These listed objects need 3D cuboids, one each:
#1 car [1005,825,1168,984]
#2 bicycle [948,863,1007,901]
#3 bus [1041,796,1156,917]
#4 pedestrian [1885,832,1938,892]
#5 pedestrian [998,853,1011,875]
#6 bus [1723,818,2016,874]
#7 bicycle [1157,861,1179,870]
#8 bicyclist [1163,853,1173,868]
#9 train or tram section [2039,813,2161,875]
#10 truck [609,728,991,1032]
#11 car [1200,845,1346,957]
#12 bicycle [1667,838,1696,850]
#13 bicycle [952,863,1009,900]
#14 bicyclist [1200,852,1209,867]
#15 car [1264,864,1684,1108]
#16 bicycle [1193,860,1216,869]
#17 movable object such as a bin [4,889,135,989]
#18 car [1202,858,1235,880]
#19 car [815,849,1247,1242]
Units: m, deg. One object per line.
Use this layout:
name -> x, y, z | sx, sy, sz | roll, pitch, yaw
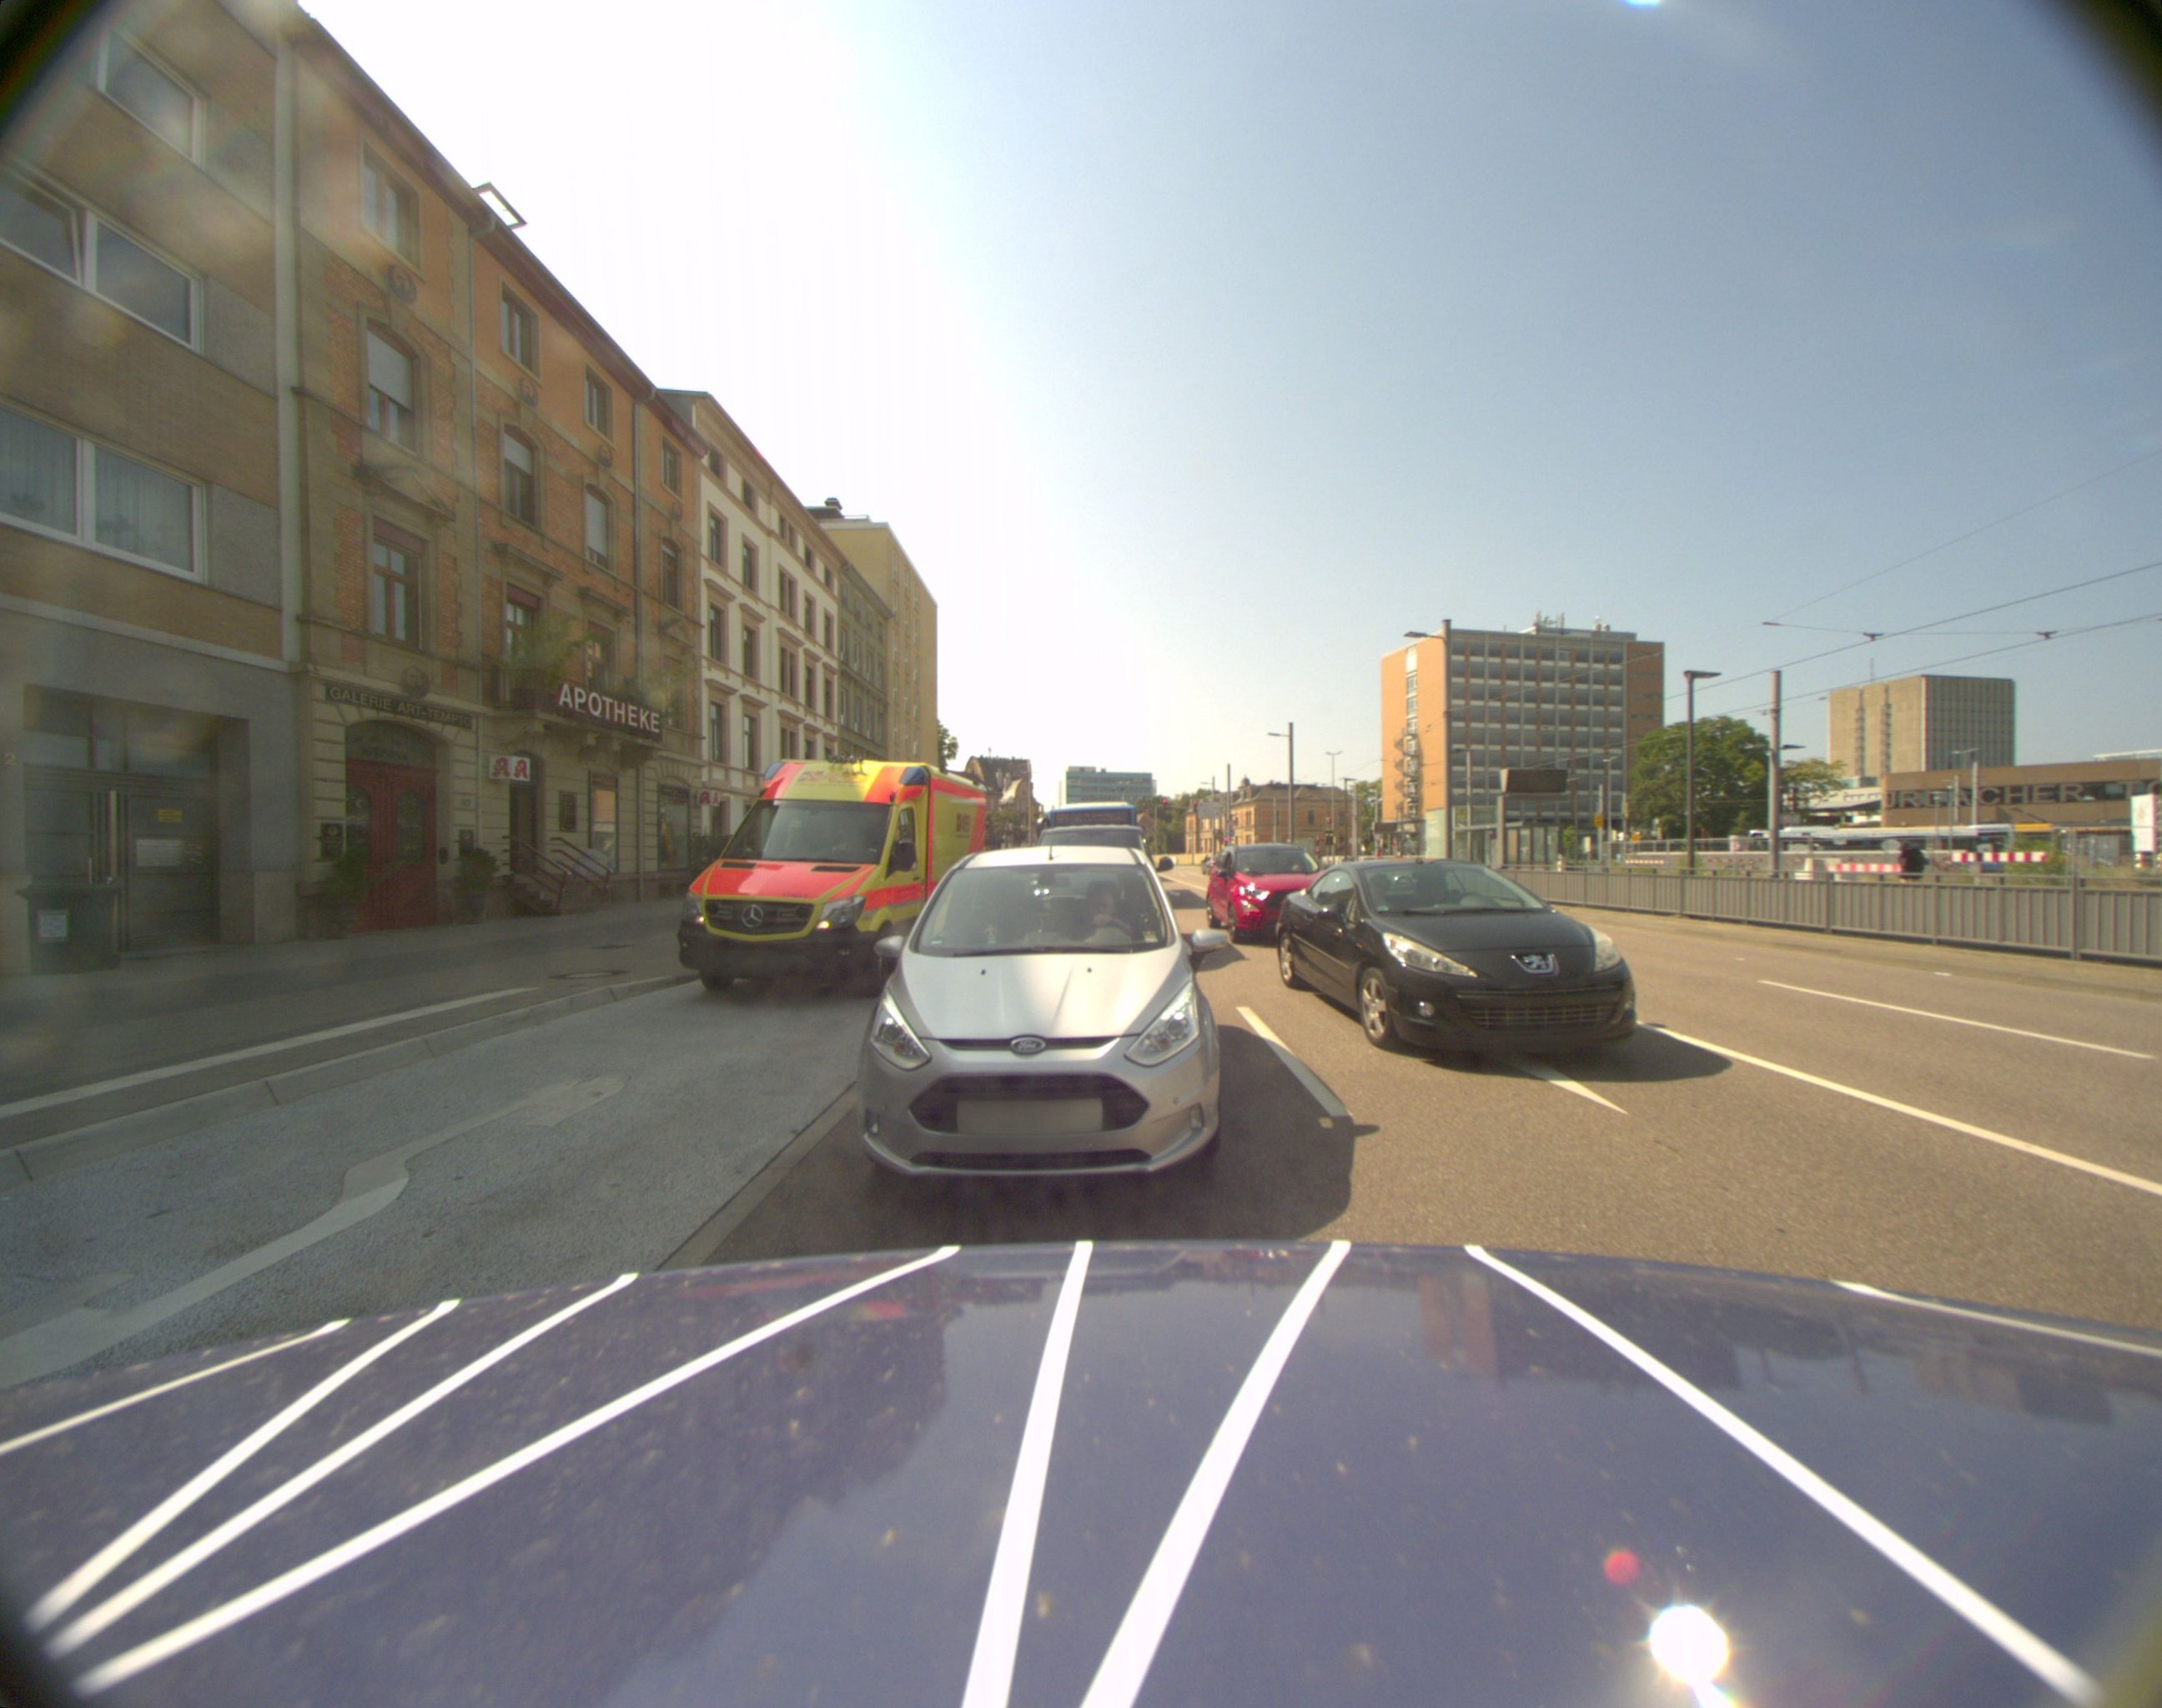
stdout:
car -> 0.120, 0.627, 11.996 | 1.998, 1.953, 4.816 | -1, 0, 1
bicycle -> -3.439, 0.939, 25.330 | 1.841, 1.196, 0.434 | -2, 1, 1
bus -> 0.706, 0.050, 26.325 | 2.919, 3.119, 12.345 | -2, 0, 2
pedestrian -> 25.161, 0.246, 23.035 | 0.745, 1.777, 0.761 | 0, 1, 1
pedestrian -> -6.149, 0.803, 61.027 | 0.798, 1.748, 0.687 | 0, 1, -43
bus -> 52.334, -0.409, 51.336 | 3.357, 3.275, 13.371 | -3, 0, -45
bicycle -> 10.394, 1.403, 90.761 | 2.516, 1.014, 0.786 | 0, 0, 35
bicyclist -> 10.369, 0.774, 90.773 | 0.980, 1.731, 0.786 | 0, 1, 35
train or tram section -> 67.858, -0.614, 45.849 | 2.004, 3.743, 12.331 | -1, 0, -45
truck -> -3.014, 0.211, 10.225 | 2.333, 2.754, 6.340 | 2, 1, 4
car -> 3.159, 0.686, 13.241 | 1.634, 1.611, 3.968 | -2, 0, 2
bicycle -> 60.121, -0.999, 76.114 | 2.182, 1.095, 0.664 | -2, 1, 21
bicycle -> -3.413, 0.924, 25.766 | 1.841, 1.196, 0.434 | -2, 1, 1
bicyclist -> 14.336, 0.623, 88.282 | 0.787, 1.797, 0.786 | 0, 1, 35
car -> 2.898, 0.847, 6.617 | 1.692, 1.405, 3.801 | -2, 0, 1
bicycle -> 14.352, 1.248, 88.266 | 2.516, 1.011, 0.786 | 0, 0, 35
movable object such as a bin -> -11.983, 0.978, 9.031 | 0.648, 1.098, 0.727 | 1, 0, -24
car -> 9.996, 1.120, 55.604 | 1.750, 1.426, 4.575 | -4, -2, 3
car -> -0.155, 0.787, 5.101 | 1.728, 1.579, 4.000 | -1, 0, 1
